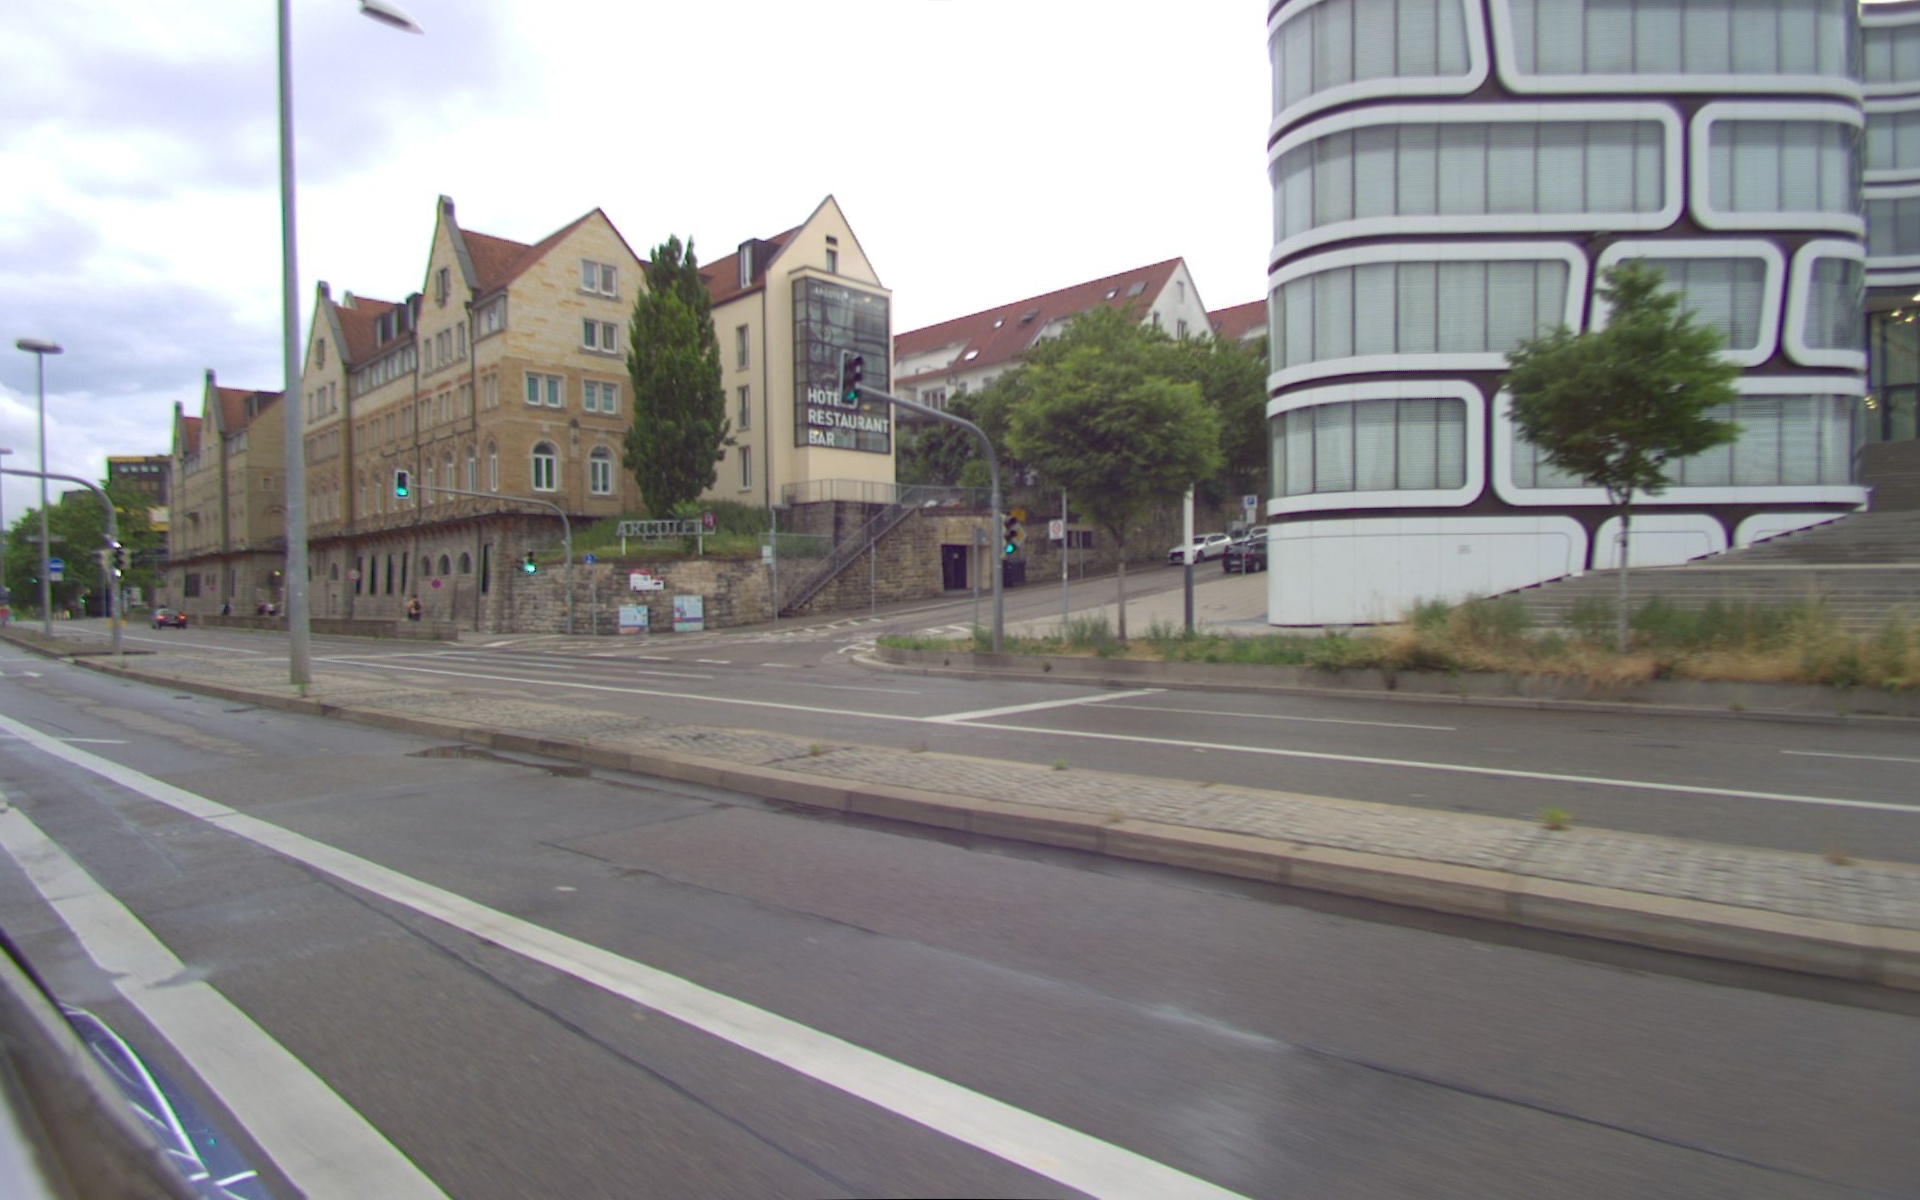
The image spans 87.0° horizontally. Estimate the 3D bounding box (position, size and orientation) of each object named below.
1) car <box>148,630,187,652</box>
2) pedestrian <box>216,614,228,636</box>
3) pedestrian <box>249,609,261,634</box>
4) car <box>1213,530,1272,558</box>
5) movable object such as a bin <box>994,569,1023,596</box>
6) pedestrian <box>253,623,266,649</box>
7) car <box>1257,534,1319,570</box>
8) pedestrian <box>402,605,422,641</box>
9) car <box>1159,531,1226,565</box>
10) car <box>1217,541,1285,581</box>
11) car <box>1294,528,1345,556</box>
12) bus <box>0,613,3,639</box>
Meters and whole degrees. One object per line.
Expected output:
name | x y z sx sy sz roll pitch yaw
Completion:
car | -57.516 2.977 73.451 4.001 1.475 1.692 -1 0 44
pedestrian | -60.425 2.034 82.883 0.684 1.792 0.668 0 0 44
pedestrian | -52.453 1.581 75.296 0.684 1.792 0.668 0 0 44
car | 17.439 -3.470 62.424 1.864 1.465 3.850 0 5 44
movable object such as a bin | 2.497 -0.897 52.017 1.118 1.252 0.816 -2 6 43
pedestrian | -49.209 2.495 71.100 0.684 1.792 0.668 0 0 44
car | 17.594 -2.573 54.184 1.876 1.588 3.951 -1 6 38
pedestrian | -27.430 1.155 50.628 0.683 1.792 0.669 0 0 39
car | 13.490 -3.024 58.608 2.053 1.696 3.944 0 5 44
car | 14.404 -1.928 49.982 1.876 1.588 3.951 -1 6 38
car | 24.882 -4.036 70.006 1.815 1.696 3.944 0 5 44
bus | -126.818 3.401 132.018 8.447 3.364 2.466 -2 0 44
